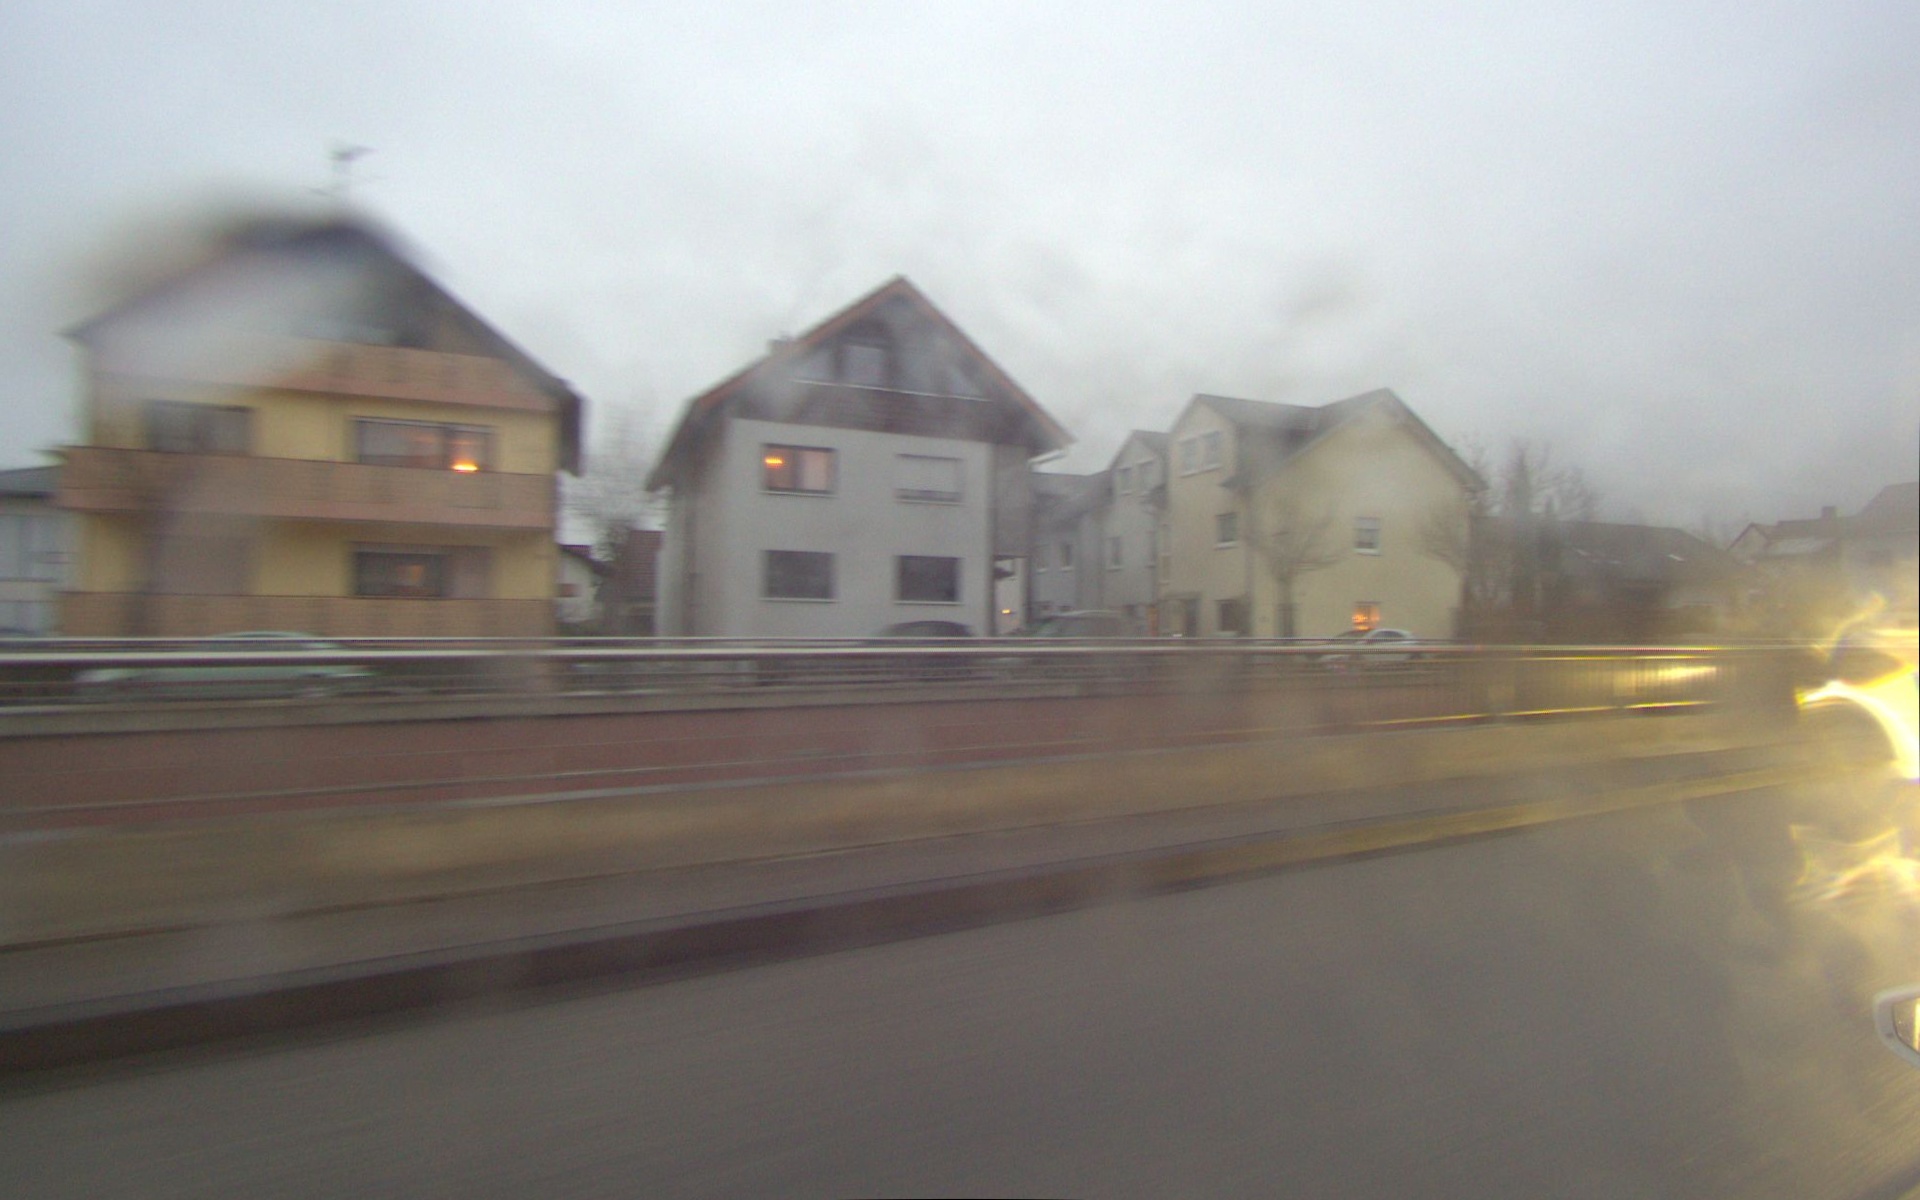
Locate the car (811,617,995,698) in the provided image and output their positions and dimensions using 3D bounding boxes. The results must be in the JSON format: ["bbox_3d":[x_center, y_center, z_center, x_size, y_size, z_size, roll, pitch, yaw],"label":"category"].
[{"bbox_3d":[-1.351,1.320,23.834,3.948,1.704,1.852,1,1,-27],"label":"car"}]

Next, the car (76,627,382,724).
[{"bbox_3d":[-12.723,1.265,17.846,4.090,1.525,1.870,1,-1,-27],"label":"car"}]

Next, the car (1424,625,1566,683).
[{"bbox_3d":[17.895,1.791,33.596,4.440,1.802,1.869,0,-3,-25],"label":"car"}]

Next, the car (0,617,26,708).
[{"bbox_3d":[-17.433,0.963,15.086,4.586,1.461,1.871,1,-1,-26],"label":"car"}]

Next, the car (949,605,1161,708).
[{"bbox_3d":[1.887,1.078,19.628,3.815,1.827,1.791,2,-2,-30],"label":"car"}]

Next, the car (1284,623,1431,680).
[{"bbox_3d":[12.311,1.571,31.075,4.168,1.619,1.869,0,-3,-25],"label":"car"}]
